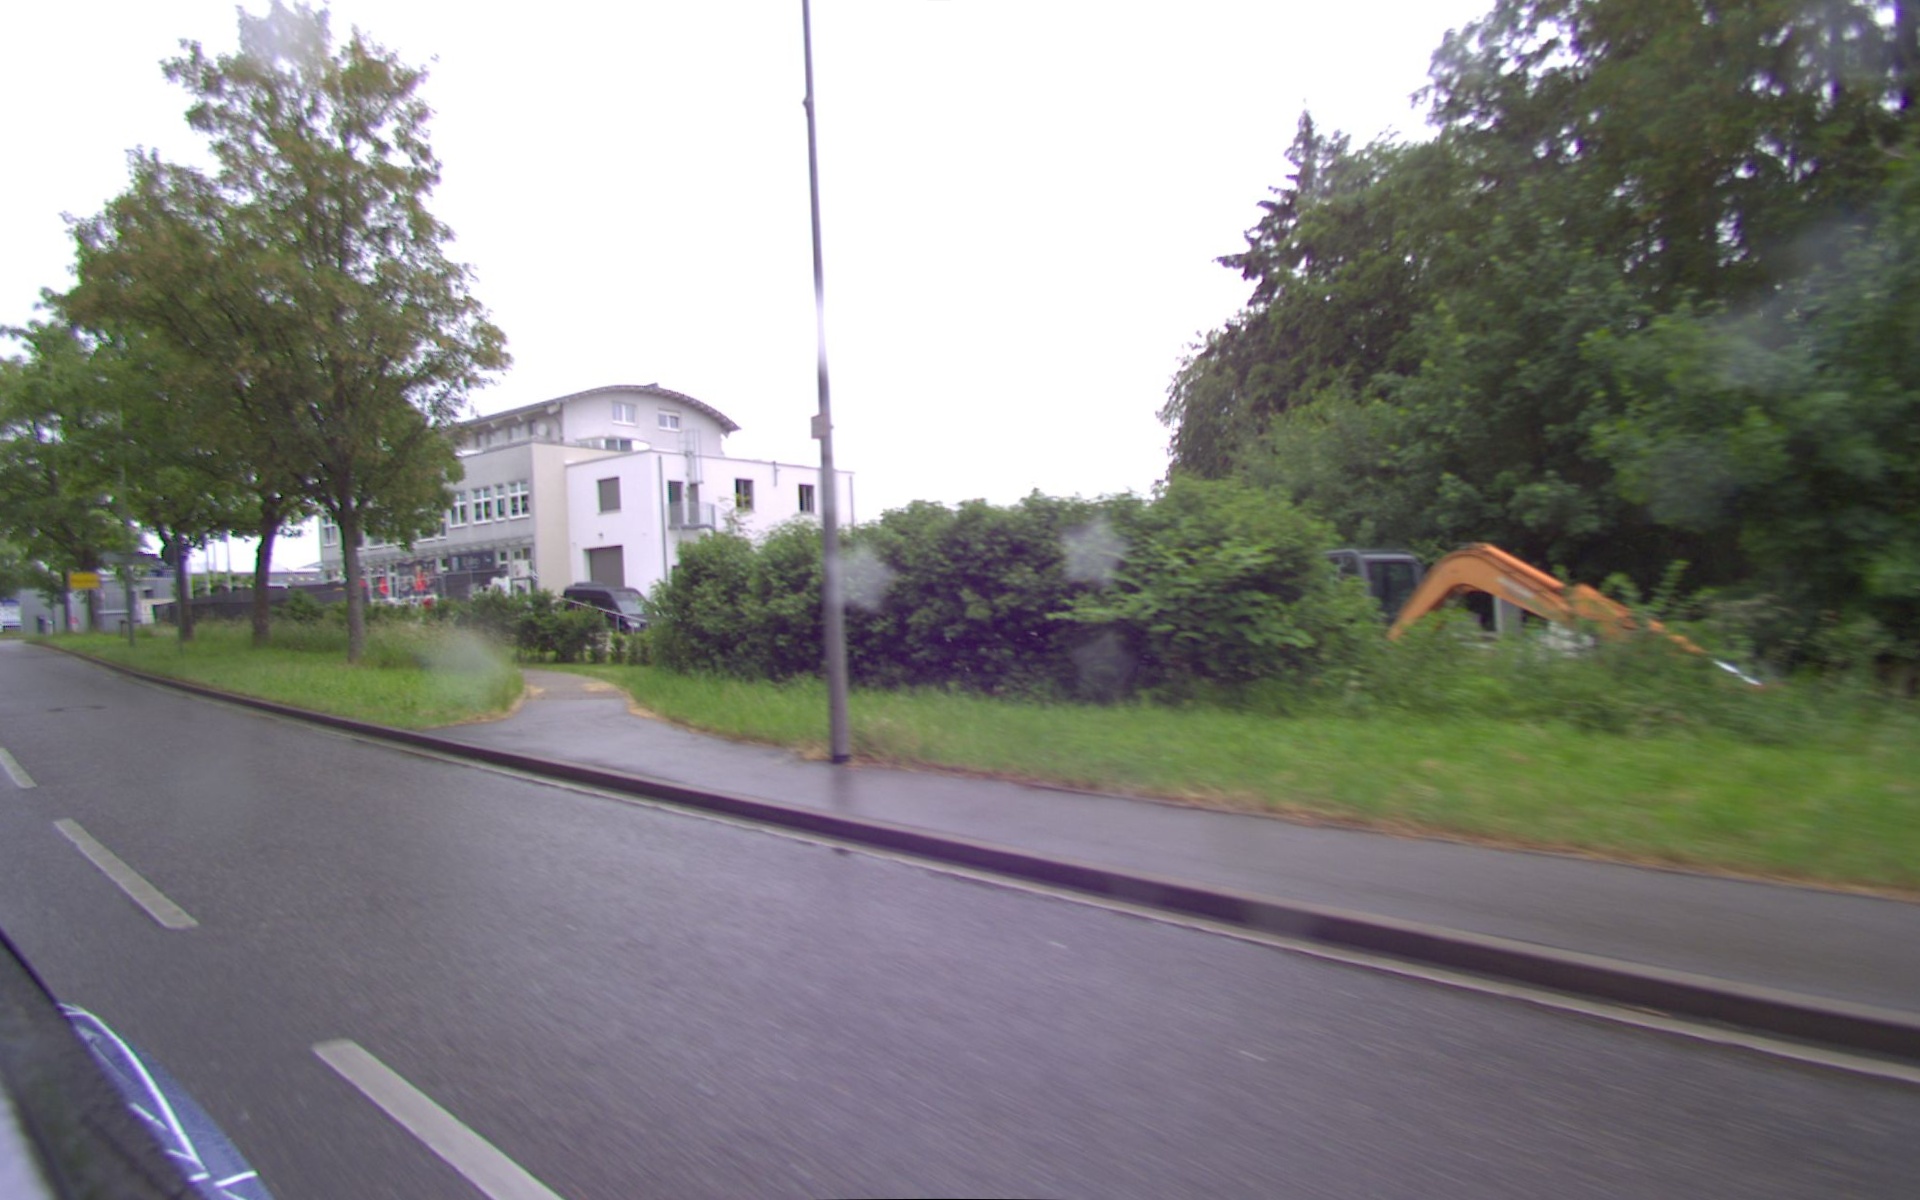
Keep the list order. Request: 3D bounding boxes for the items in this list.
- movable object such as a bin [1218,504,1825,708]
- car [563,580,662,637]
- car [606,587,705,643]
[{"bbox_3d":[6.483,0.070,13.570,1.820,1.922,7.932,-1,0,-18],"label":"movable object such as a bin"},{"bbox_3d":[-16.345,0.338,47.469,5.224,1.929,1.887,10,7,39],"label":"car"},{"bbox_3d":[-14.671,0.676,48.647,5.224,1.929,1.887,10,7,39],"label":"car"}]
